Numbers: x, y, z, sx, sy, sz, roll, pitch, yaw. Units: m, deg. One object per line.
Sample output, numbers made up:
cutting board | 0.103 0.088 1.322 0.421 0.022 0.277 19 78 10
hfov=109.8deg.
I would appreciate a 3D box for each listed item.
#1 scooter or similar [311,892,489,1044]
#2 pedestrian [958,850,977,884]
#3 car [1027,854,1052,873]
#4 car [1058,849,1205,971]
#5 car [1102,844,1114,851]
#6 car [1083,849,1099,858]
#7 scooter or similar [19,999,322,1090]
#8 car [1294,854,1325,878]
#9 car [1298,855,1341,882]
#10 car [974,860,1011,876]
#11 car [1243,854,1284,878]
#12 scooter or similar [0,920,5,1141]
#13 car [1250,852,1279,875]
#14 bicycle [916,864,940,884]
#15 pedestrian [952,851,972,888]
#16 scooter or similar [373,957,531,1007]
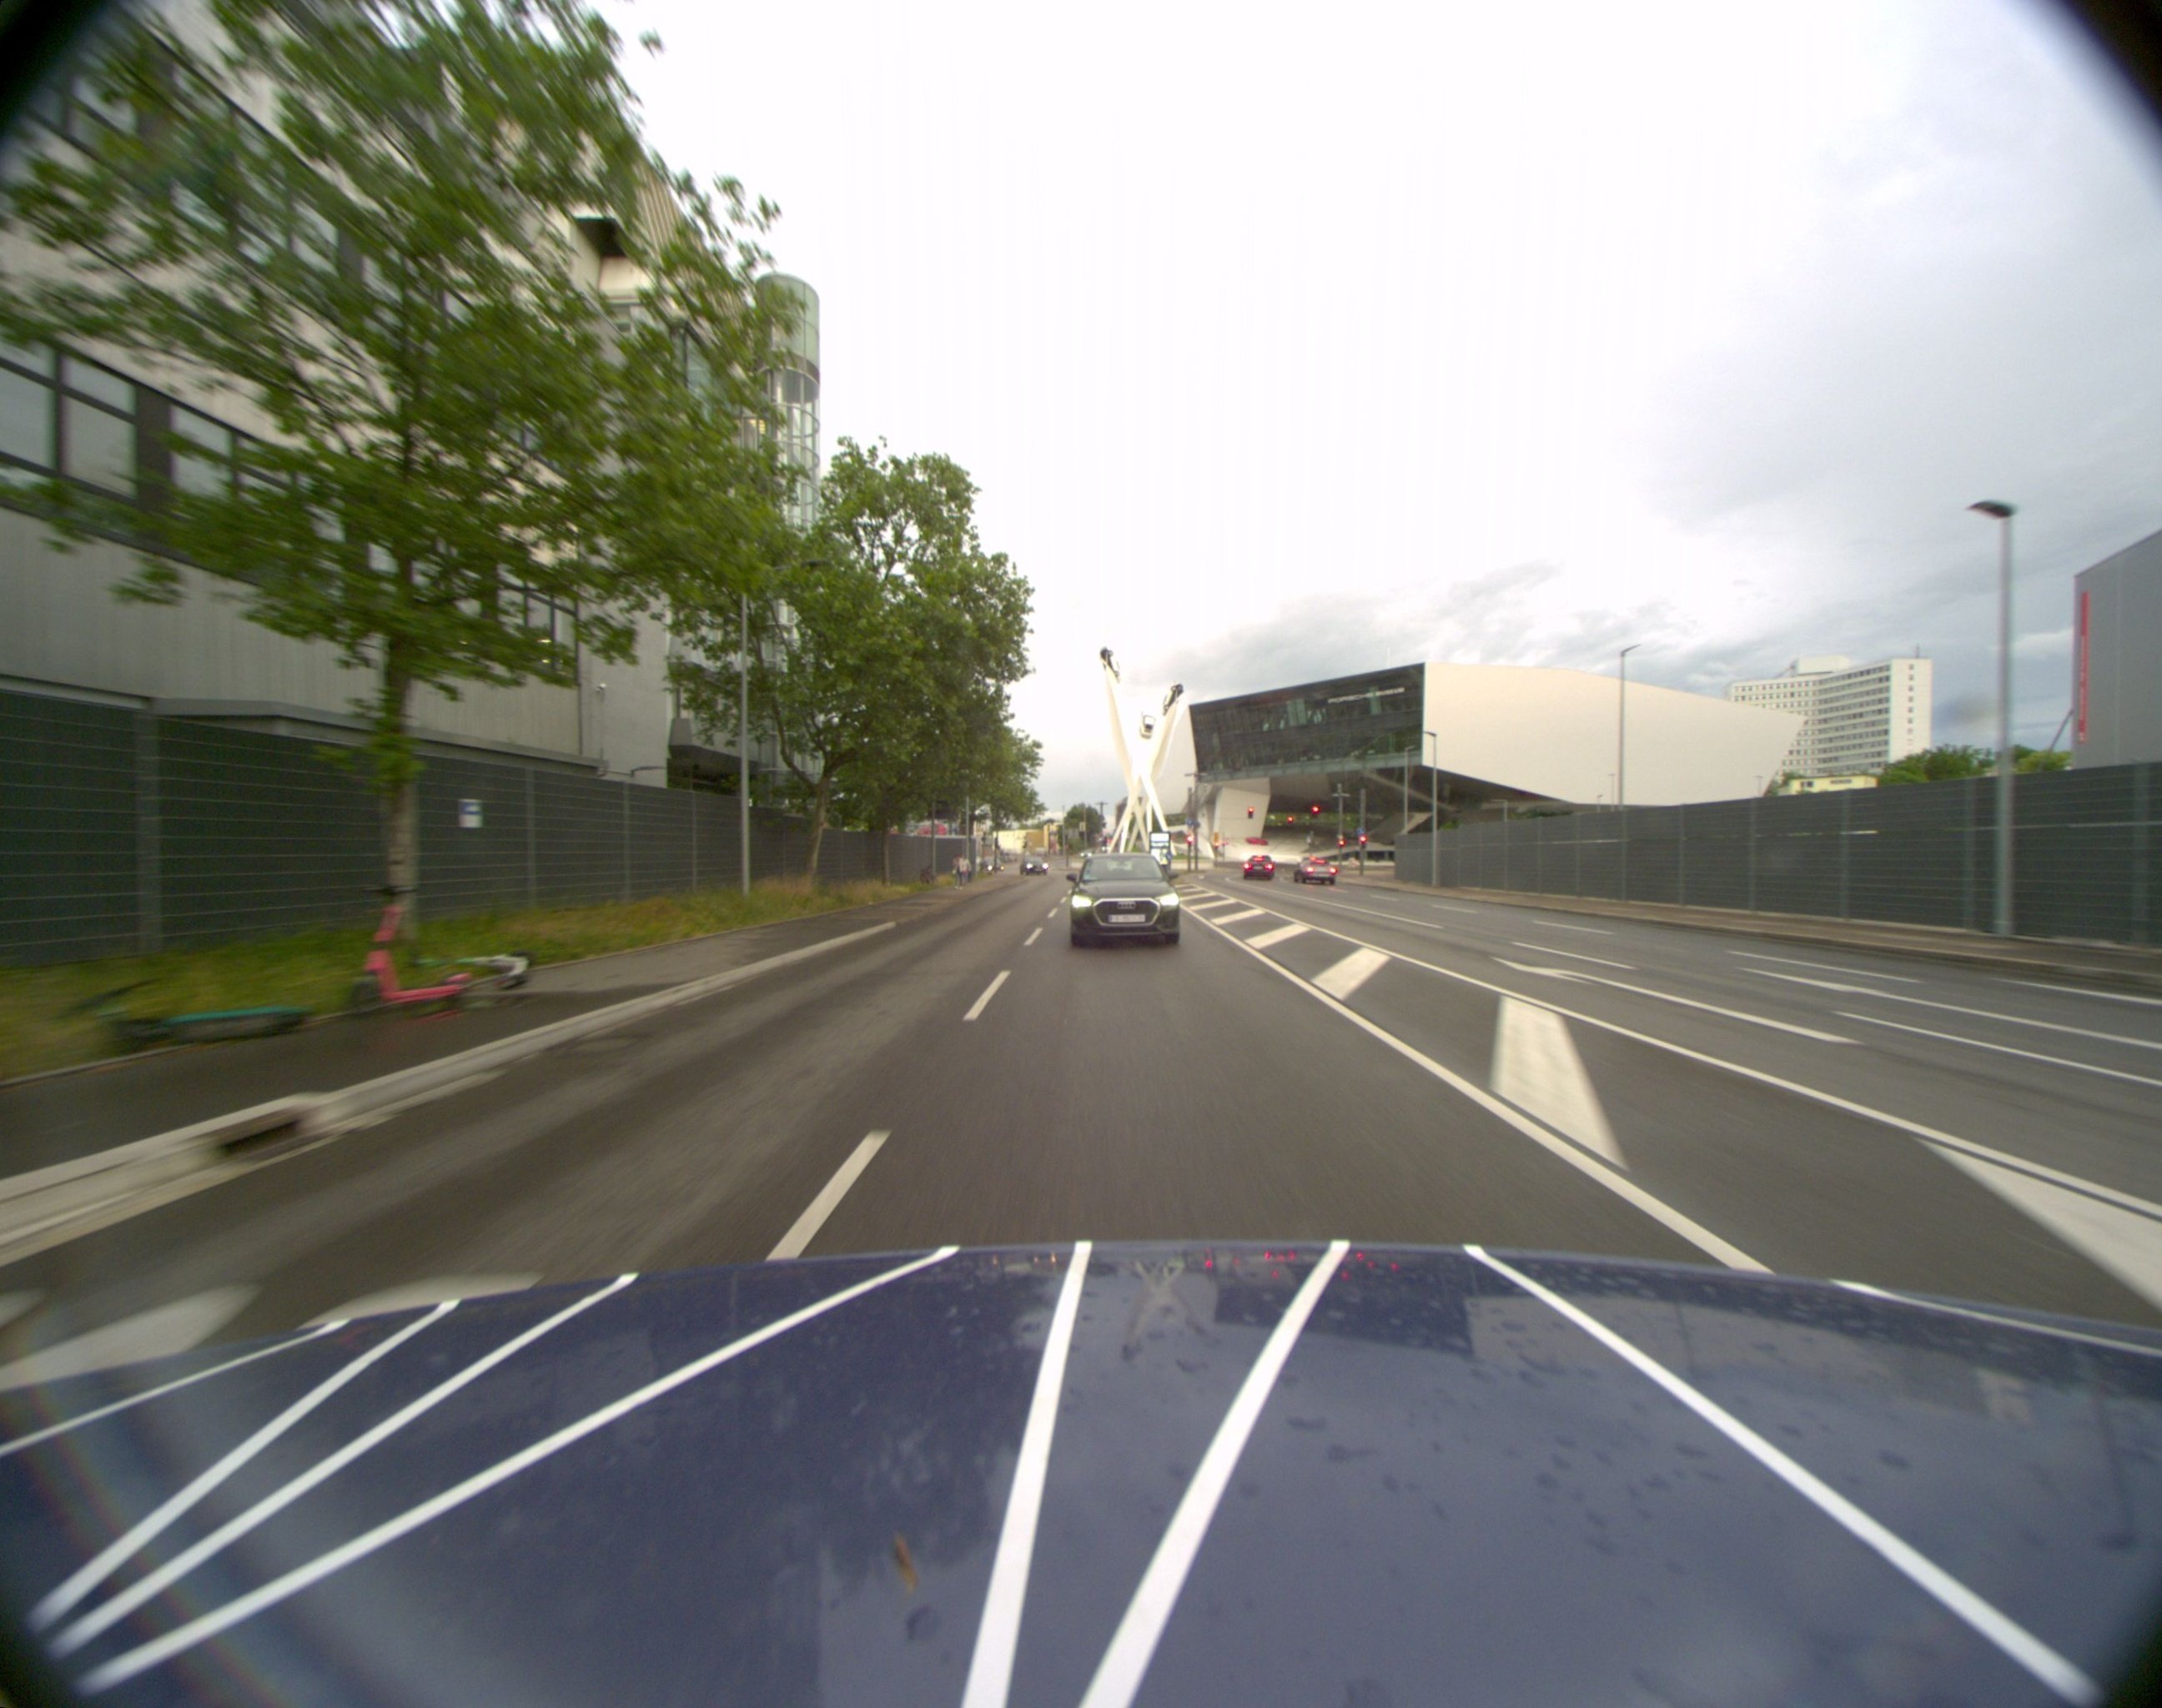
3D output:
scooter or similar | -6.575 1.043 7.416 0.437 1.277 1.301 0 1 9
pedestrian | -5.591 0.636 37.515 0.723 1.657 0.833 2 1 1
car | -3.291 0.761 61.492 1.881 1.485 4.076 1 0 -2
car | 0.690 0.766 12.898 1.951 1.609 5.277 -1 0 0
car | 5.750 -1.368 162.638 1.878 1.510 3.856 1 0 14
car | 1.777 -0.120 129.779 1.878 1.510 3.856 1 0 14
scooter or similar | -7.308 1.502 6.169 1.099 0.343 1.260 0 0 18
car | 16.448 0.849 54.595 1.861 1.641 3.793 0 0 21
car | 13.858 0.819 43.967 2.266 1.469 4.053 0 0 19
car | -9.097 1.434 78.104 1.886 1.510 3.840 1 0 -42
car | 12.063 0.763 50.147 2.255 1.469 3.885 0 0 19
scooter or similar | -6.612 1.027 3.789 0.437 1.288 1.368 0 1 9
car | 13.837 0.672 57.137 1.878 1.641 3.857 0 0 18
bicycle | -7.299 0.958 36.260 0.727 0.870 1.905 -1 1 1
pedestrian | -5.350 0.698 34.142 0.723 1.610 0.833 2 1 1
scooter or similar | -7.263 1.473 8.874 1.184 0.309 1.200 0 0 -27
